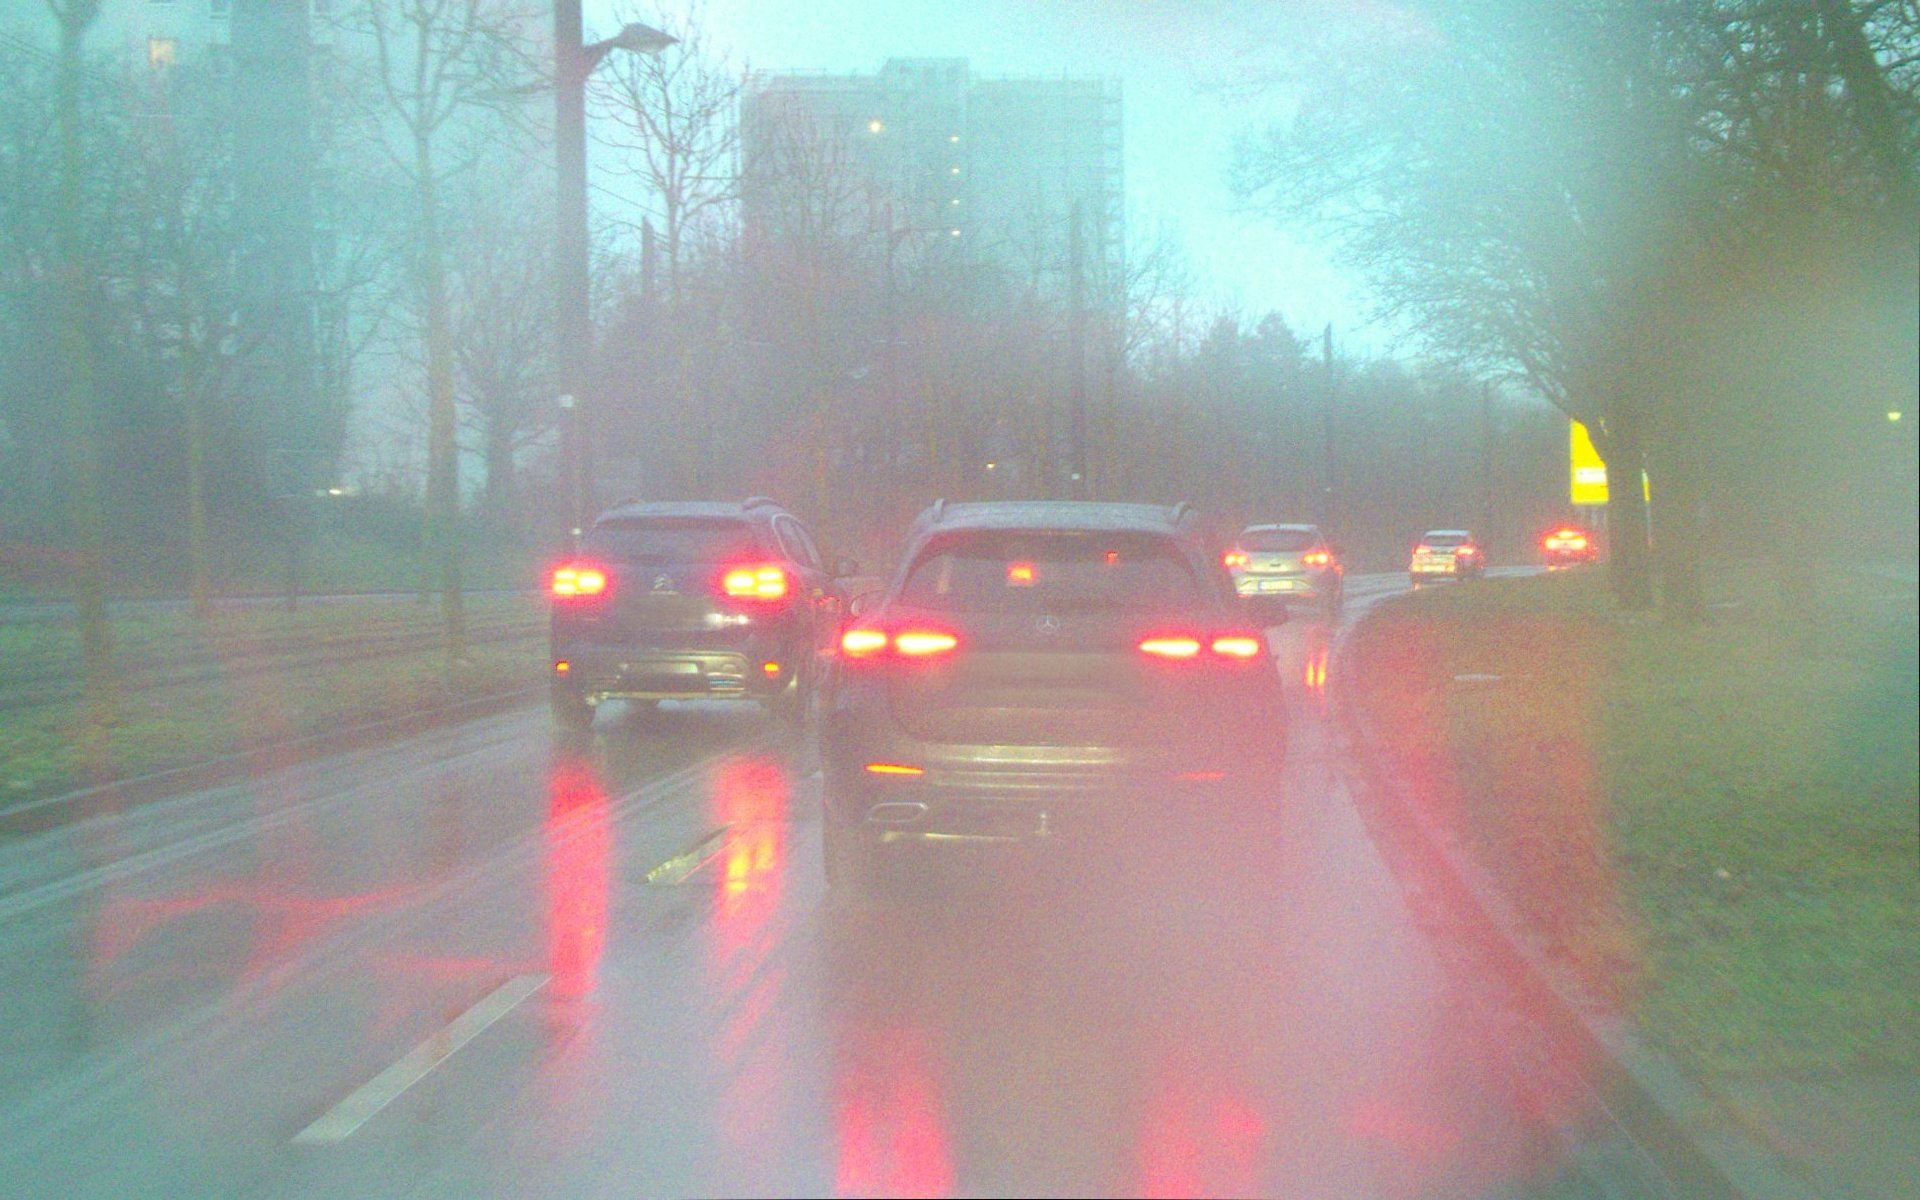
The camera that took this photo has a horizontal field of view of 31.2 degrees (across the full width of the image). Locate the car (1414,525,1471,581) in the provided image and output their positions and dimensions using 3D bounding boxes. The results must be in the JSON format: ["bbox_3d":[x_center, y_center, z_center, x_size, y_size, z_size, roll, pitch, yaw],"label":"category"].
[{"bbox_3d":[13.691,-1.313,97.529,1.535,1.508,3.341,1,0,8],"label":"car"}]

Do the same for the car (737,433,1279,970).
[{"bbox_3d":[0.258,0.379,14.813,1.994,1.969,4.068,1,0,2],"label":"car"}]

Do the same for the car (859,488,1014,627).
[{"bbox_3d":[-0.268,-0.577,45.359,1.827,1.733,3.805,1,1,3],"label":"car"}]

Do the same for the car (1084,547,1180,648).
[{"bbox_3d":[3.346,-0.038,66.677,1.772,1.885,3.642,1,0,3],"label":"car"}]

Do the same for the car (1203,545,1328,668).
[{"bbox_3d":[4.875,0.106,55.291,1.857,1.885,3.999,1,0,3],"label":"car"}]

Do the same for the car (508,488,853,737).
[{"bbox_3d":[-2.013,0.091,26.051,1.994,1.706,4.324,1,0,3],"label":"car"}]
